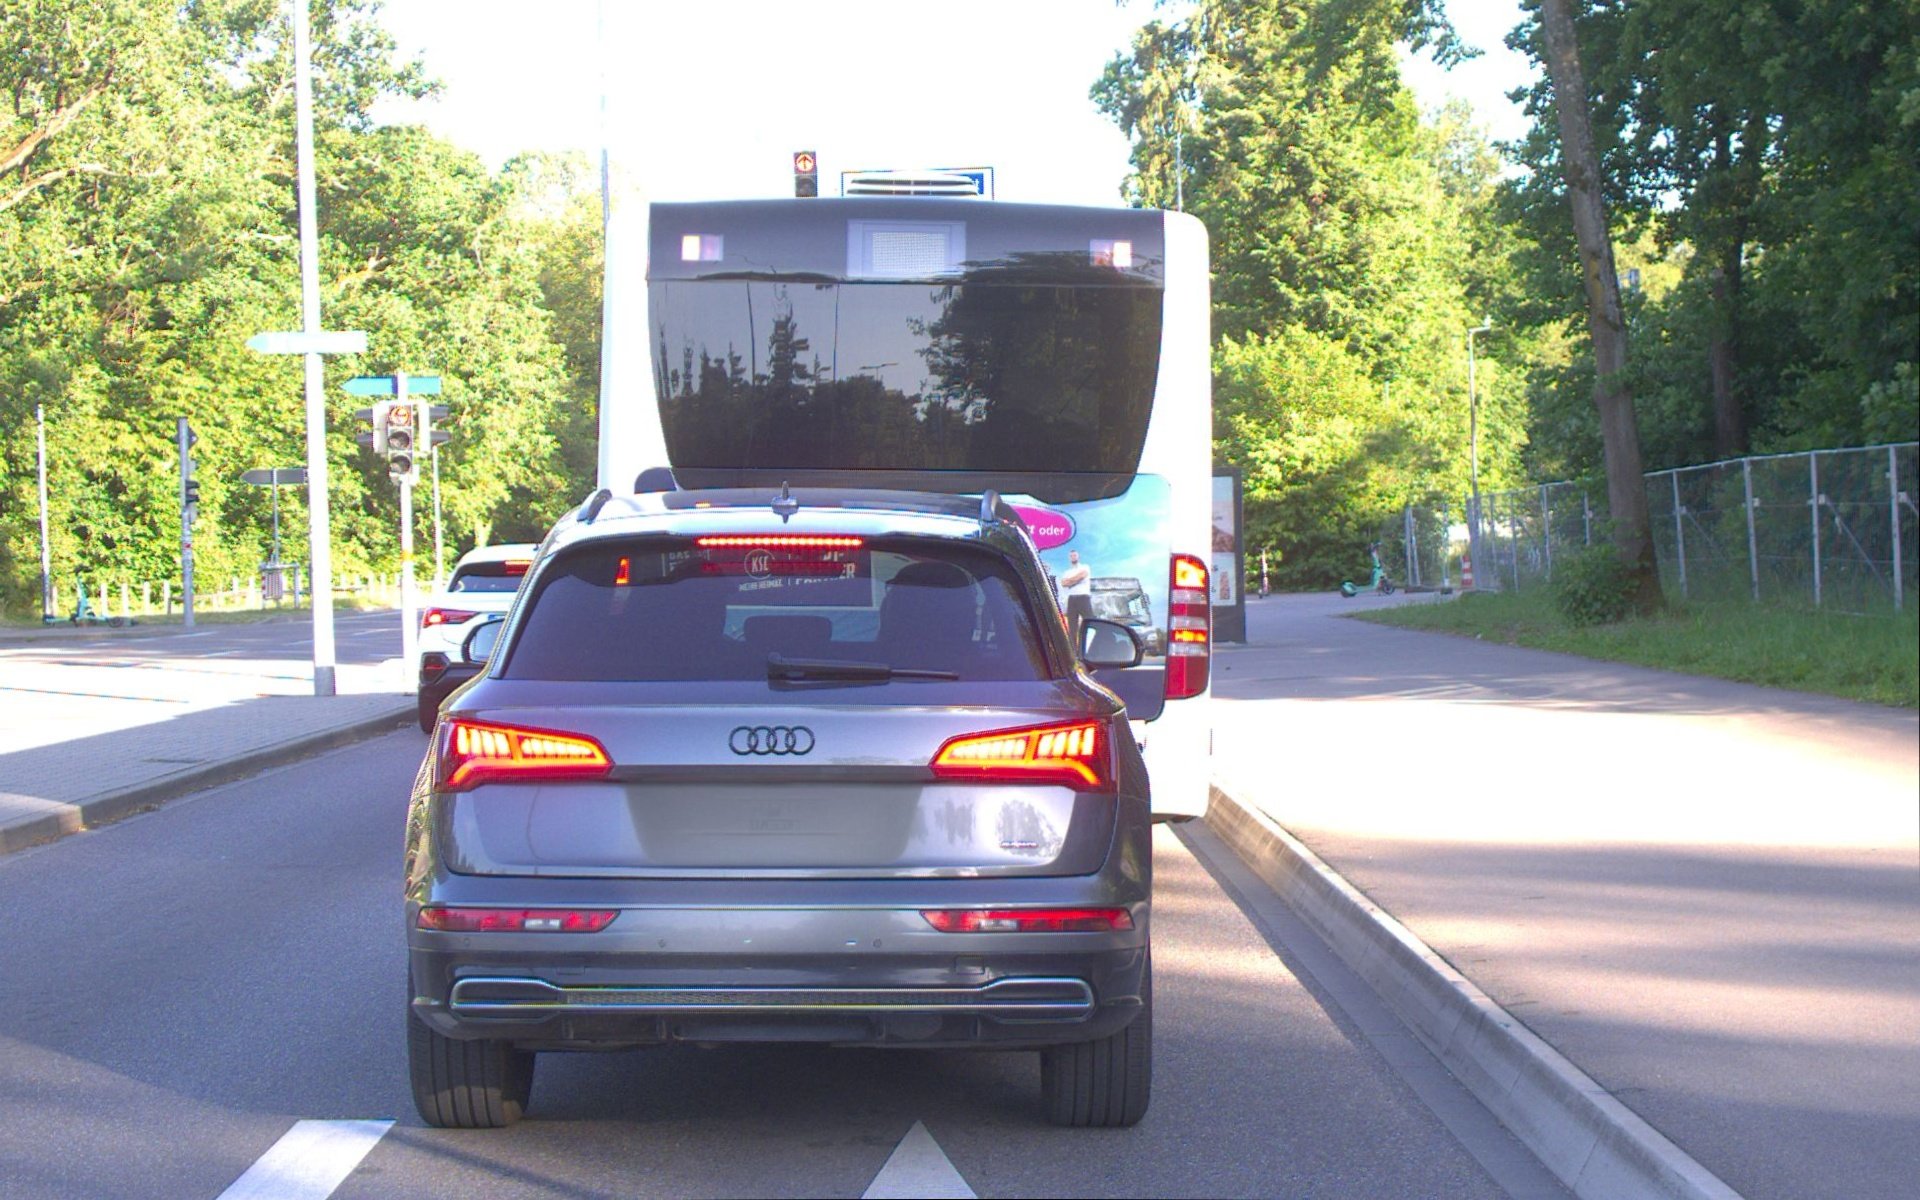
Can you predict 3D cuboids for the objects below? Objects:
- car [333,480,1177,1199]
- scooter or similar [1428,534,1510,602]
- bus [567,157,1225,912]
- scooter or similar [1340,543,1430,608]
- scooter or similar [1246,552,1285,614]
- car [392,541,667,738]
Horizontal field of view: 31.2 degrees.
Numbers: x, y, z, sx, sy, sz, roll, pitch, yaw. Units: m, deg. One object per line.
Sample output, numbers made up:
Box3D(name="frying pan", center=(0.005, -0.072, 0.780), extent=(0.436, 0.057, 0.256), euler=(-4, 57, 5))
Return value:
Box3D(name="car", center=(-0.487, 0.515, 9.776), extent=(1.898, 1.626, 4.000), euler=(0, 1, -1))
Box3D(name="scooter or similar", center=(11.941, -0.750, 80.726), extent=(0.539, 1.562, 2.021), euler=(-3, 1, -40))
Box3D(name="bus", center=(-0.306, -0.290, 18.267), extent=(2.594, 2.979, 9.327), euler=(0, 0, -1))
Box3D(name="scooter or similar", center=(9.825, -0.565, 79.435), extent=(2.015, 1.439, 0.606), euler=(-2, 1, -25))
Box3D(name="scooter or similar", center=(7.298, -0.413, 82.095), extent=(0.508, 1.439, 2.023), euler=(-2, 1, -6))
Box3D(name="car", center=(-3.542, 0.277, 28.923), extent=(1.836, 1.513, 4.000), euler=(-1, 1, -1))
